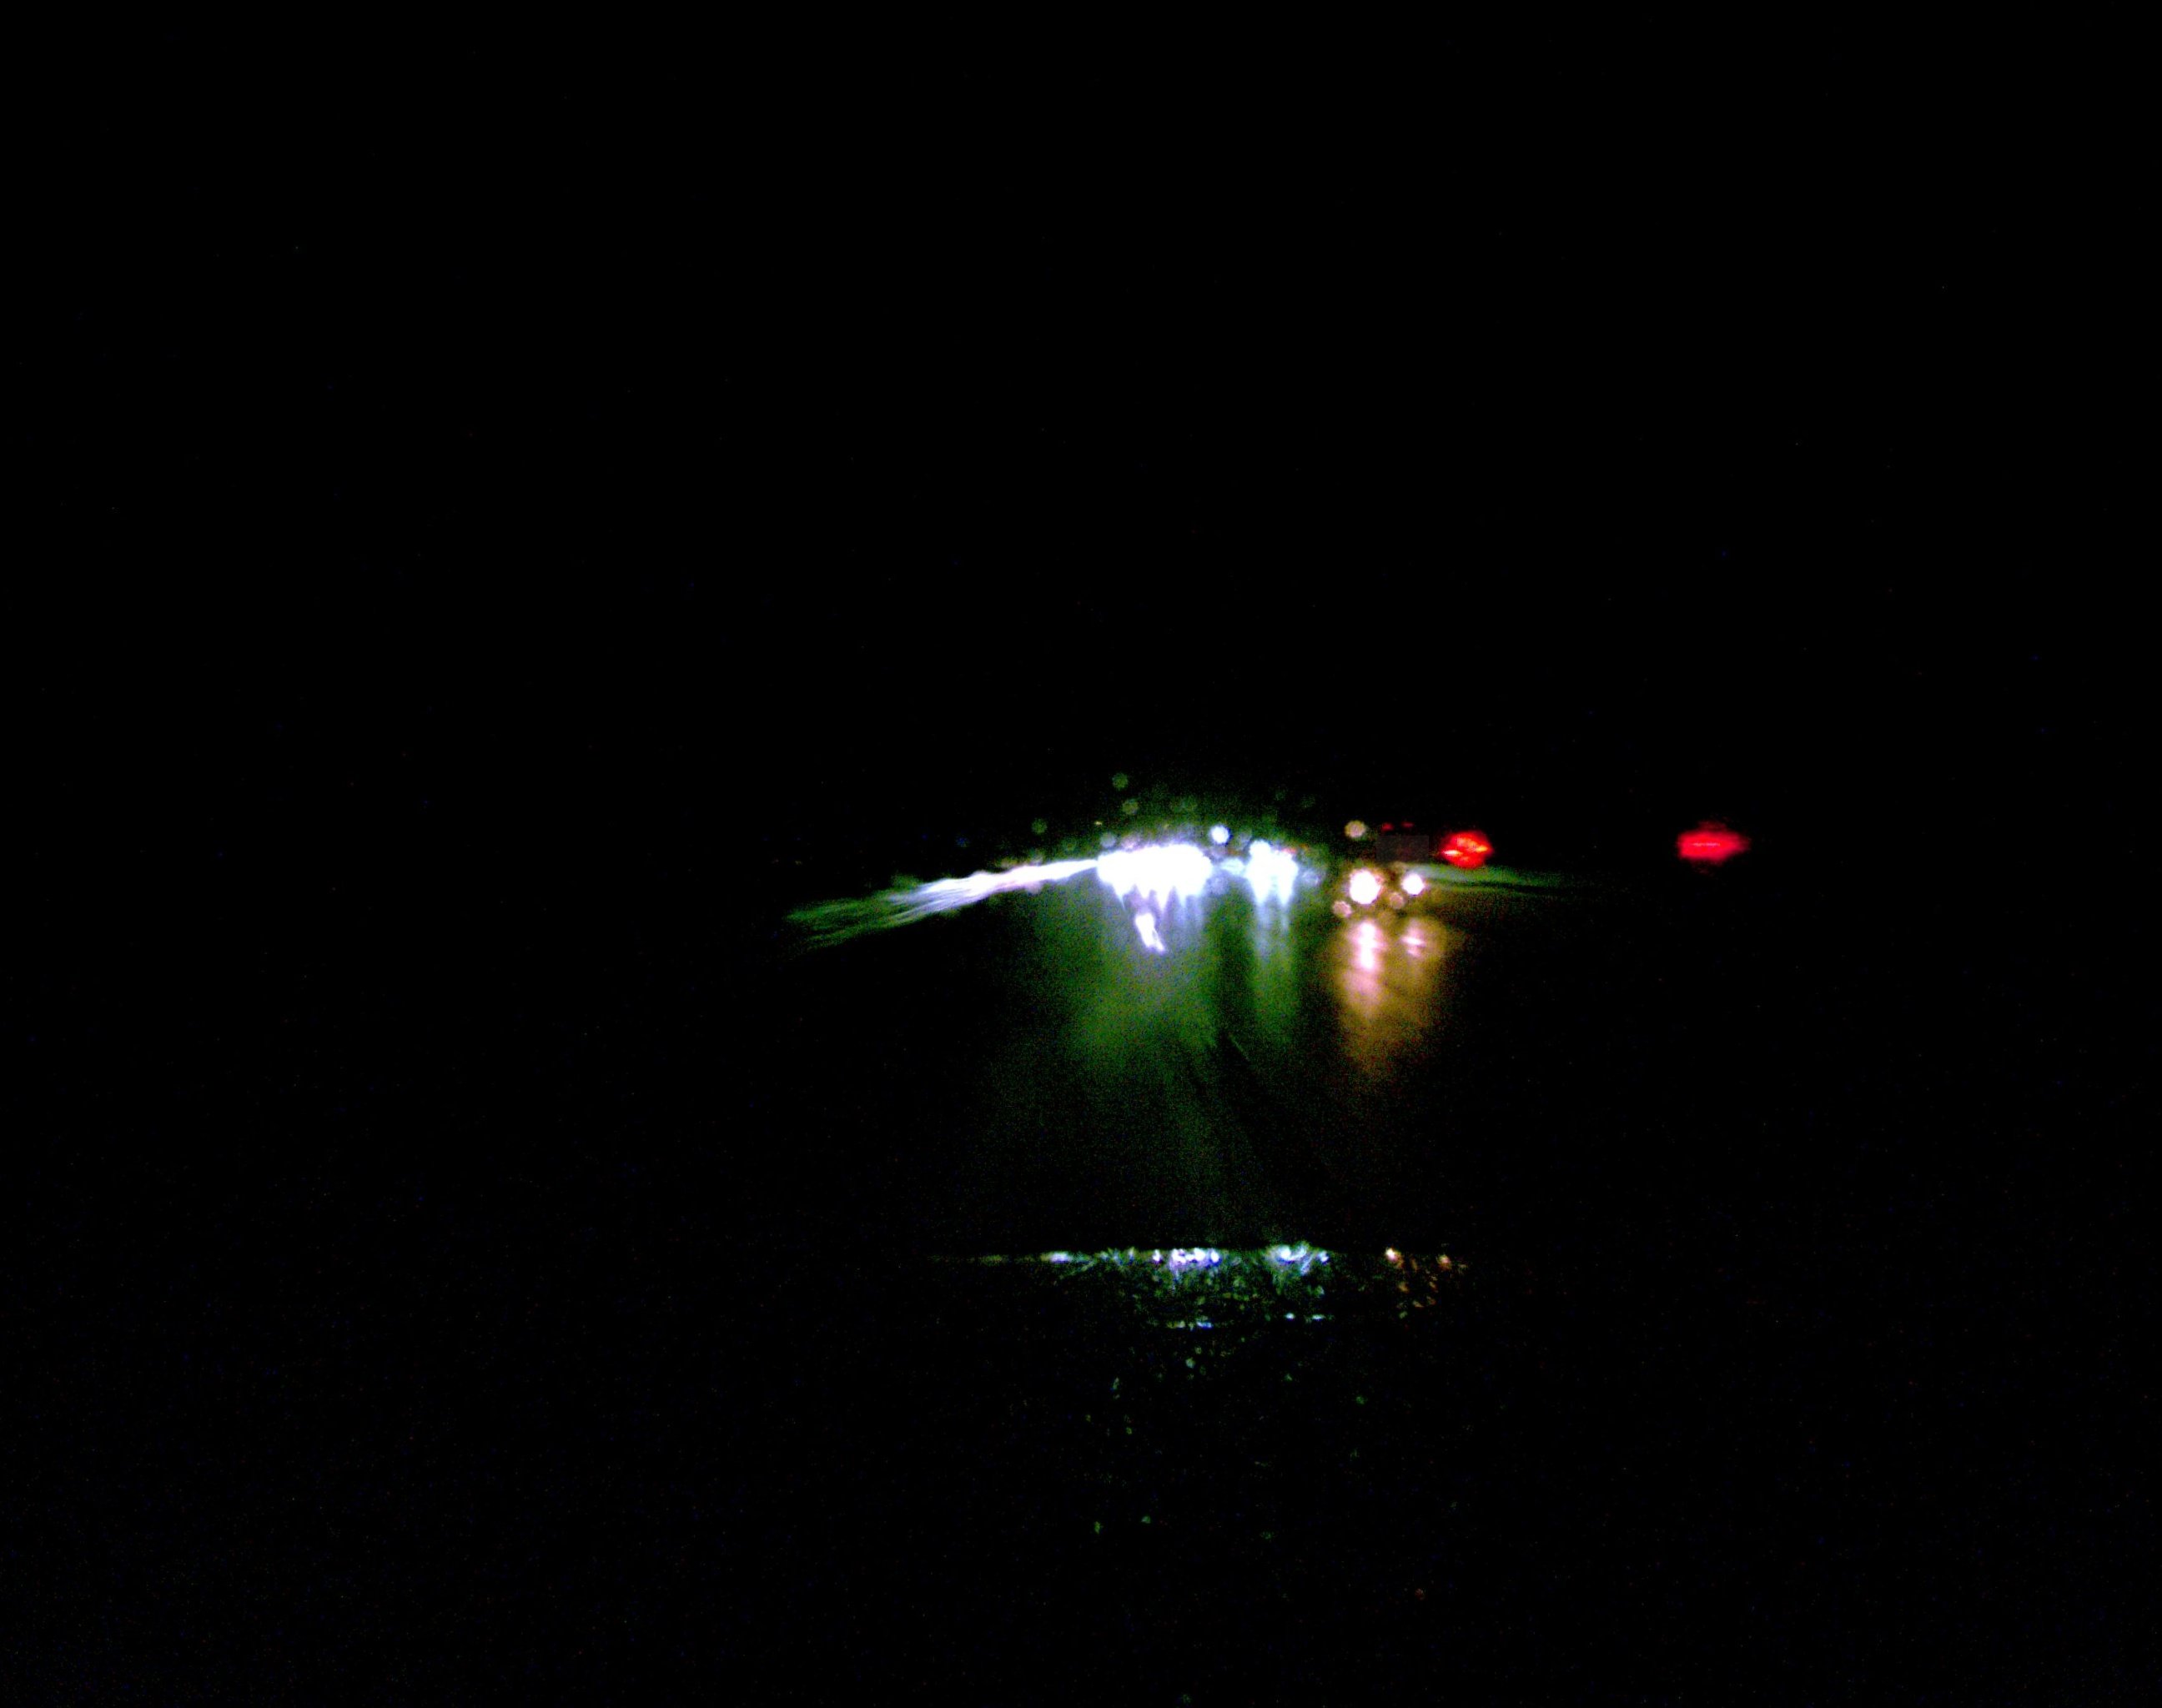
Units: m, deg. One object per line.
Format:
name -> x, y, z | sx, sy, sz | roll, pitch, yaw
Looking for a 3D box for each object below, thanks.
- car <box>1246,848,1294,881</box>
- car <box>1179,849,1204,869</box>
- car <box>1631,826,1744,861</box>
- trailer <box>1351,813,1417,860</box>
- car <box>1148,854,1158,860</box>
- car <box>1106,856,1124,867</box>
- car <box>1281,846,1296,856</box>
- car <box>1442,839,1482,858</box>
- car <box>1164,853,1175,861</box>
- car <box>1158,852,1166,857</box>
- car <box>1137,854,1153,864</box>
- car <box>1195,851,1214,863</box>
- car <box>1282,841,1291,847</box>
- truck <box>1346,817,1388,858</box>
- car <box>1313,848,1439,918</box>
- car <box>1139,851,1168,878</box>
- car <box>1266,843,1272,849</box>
car -> 12.428, 0.641, 50.362 | 2.143, 2.002, 4.529 | -2, 1, 2
car -> 10.258, 0.447, 70.848 | 1.998, 1.667, 4.001 | -2, 1, 5
car -> 32.178, -0.546, 40.533 | 1.780, 1.587, 5.151 | -4, 1, -1
trailer -> 36.424, -2.050, 92.169 | 3.271, 5.039, 13.974 | -2, 1, 4
car -> 15.275, 0.538, 162.164 | 1.998, 1.149, 4.001 | -2, 1, 4
car -> 4.390, 0.938, 97.828 | 1.997, 1.149, 4.001 | -2, 1, 7
car -> 36.677, -0.545, 134.370 | 1.780, 1.587, 4.001 | -4, 1, 5
car -> 34.378, -0.512, 68.720 | 1.779, 1.587, 4.225 | -4, 1, 6
car -> 14.495, 0.458, 124.266 | 1.692, 1.149, 3.421 | -2, 1, 5
car -> 22.571, 0.159, 211.386 | 1.998, 1.379, 4.001 | -4, 0, 3
car -> 8.758, 0.699, 103.830 | 1.997, 1.149, 4.002 | -2, 1, 7
car -> 17.892, 0.450, 110.585 | 2.310, 1.600, 3.872 | -2, 1, 4
car -> 56.445, -2.789, 208.542 | 1.779, 1.586, 4.002 | -4, 0, 8
truck -> 36.855, -2.126, 98.151 | 3.271, 5.039, 6.028 | -2, 1, 4
car -> 7.641, 0.676, 20.138 | 1.920, 1.585, 4.234 | -2, 1, 5
car -> 5.799, 0.811, 61.121 | 1.998, 2.002, 4.000 | -2, 1, 2
car -> 63.162, -2.694, 255.301 | 1.779, 1.586, 4.002 | -4, 0, 8
